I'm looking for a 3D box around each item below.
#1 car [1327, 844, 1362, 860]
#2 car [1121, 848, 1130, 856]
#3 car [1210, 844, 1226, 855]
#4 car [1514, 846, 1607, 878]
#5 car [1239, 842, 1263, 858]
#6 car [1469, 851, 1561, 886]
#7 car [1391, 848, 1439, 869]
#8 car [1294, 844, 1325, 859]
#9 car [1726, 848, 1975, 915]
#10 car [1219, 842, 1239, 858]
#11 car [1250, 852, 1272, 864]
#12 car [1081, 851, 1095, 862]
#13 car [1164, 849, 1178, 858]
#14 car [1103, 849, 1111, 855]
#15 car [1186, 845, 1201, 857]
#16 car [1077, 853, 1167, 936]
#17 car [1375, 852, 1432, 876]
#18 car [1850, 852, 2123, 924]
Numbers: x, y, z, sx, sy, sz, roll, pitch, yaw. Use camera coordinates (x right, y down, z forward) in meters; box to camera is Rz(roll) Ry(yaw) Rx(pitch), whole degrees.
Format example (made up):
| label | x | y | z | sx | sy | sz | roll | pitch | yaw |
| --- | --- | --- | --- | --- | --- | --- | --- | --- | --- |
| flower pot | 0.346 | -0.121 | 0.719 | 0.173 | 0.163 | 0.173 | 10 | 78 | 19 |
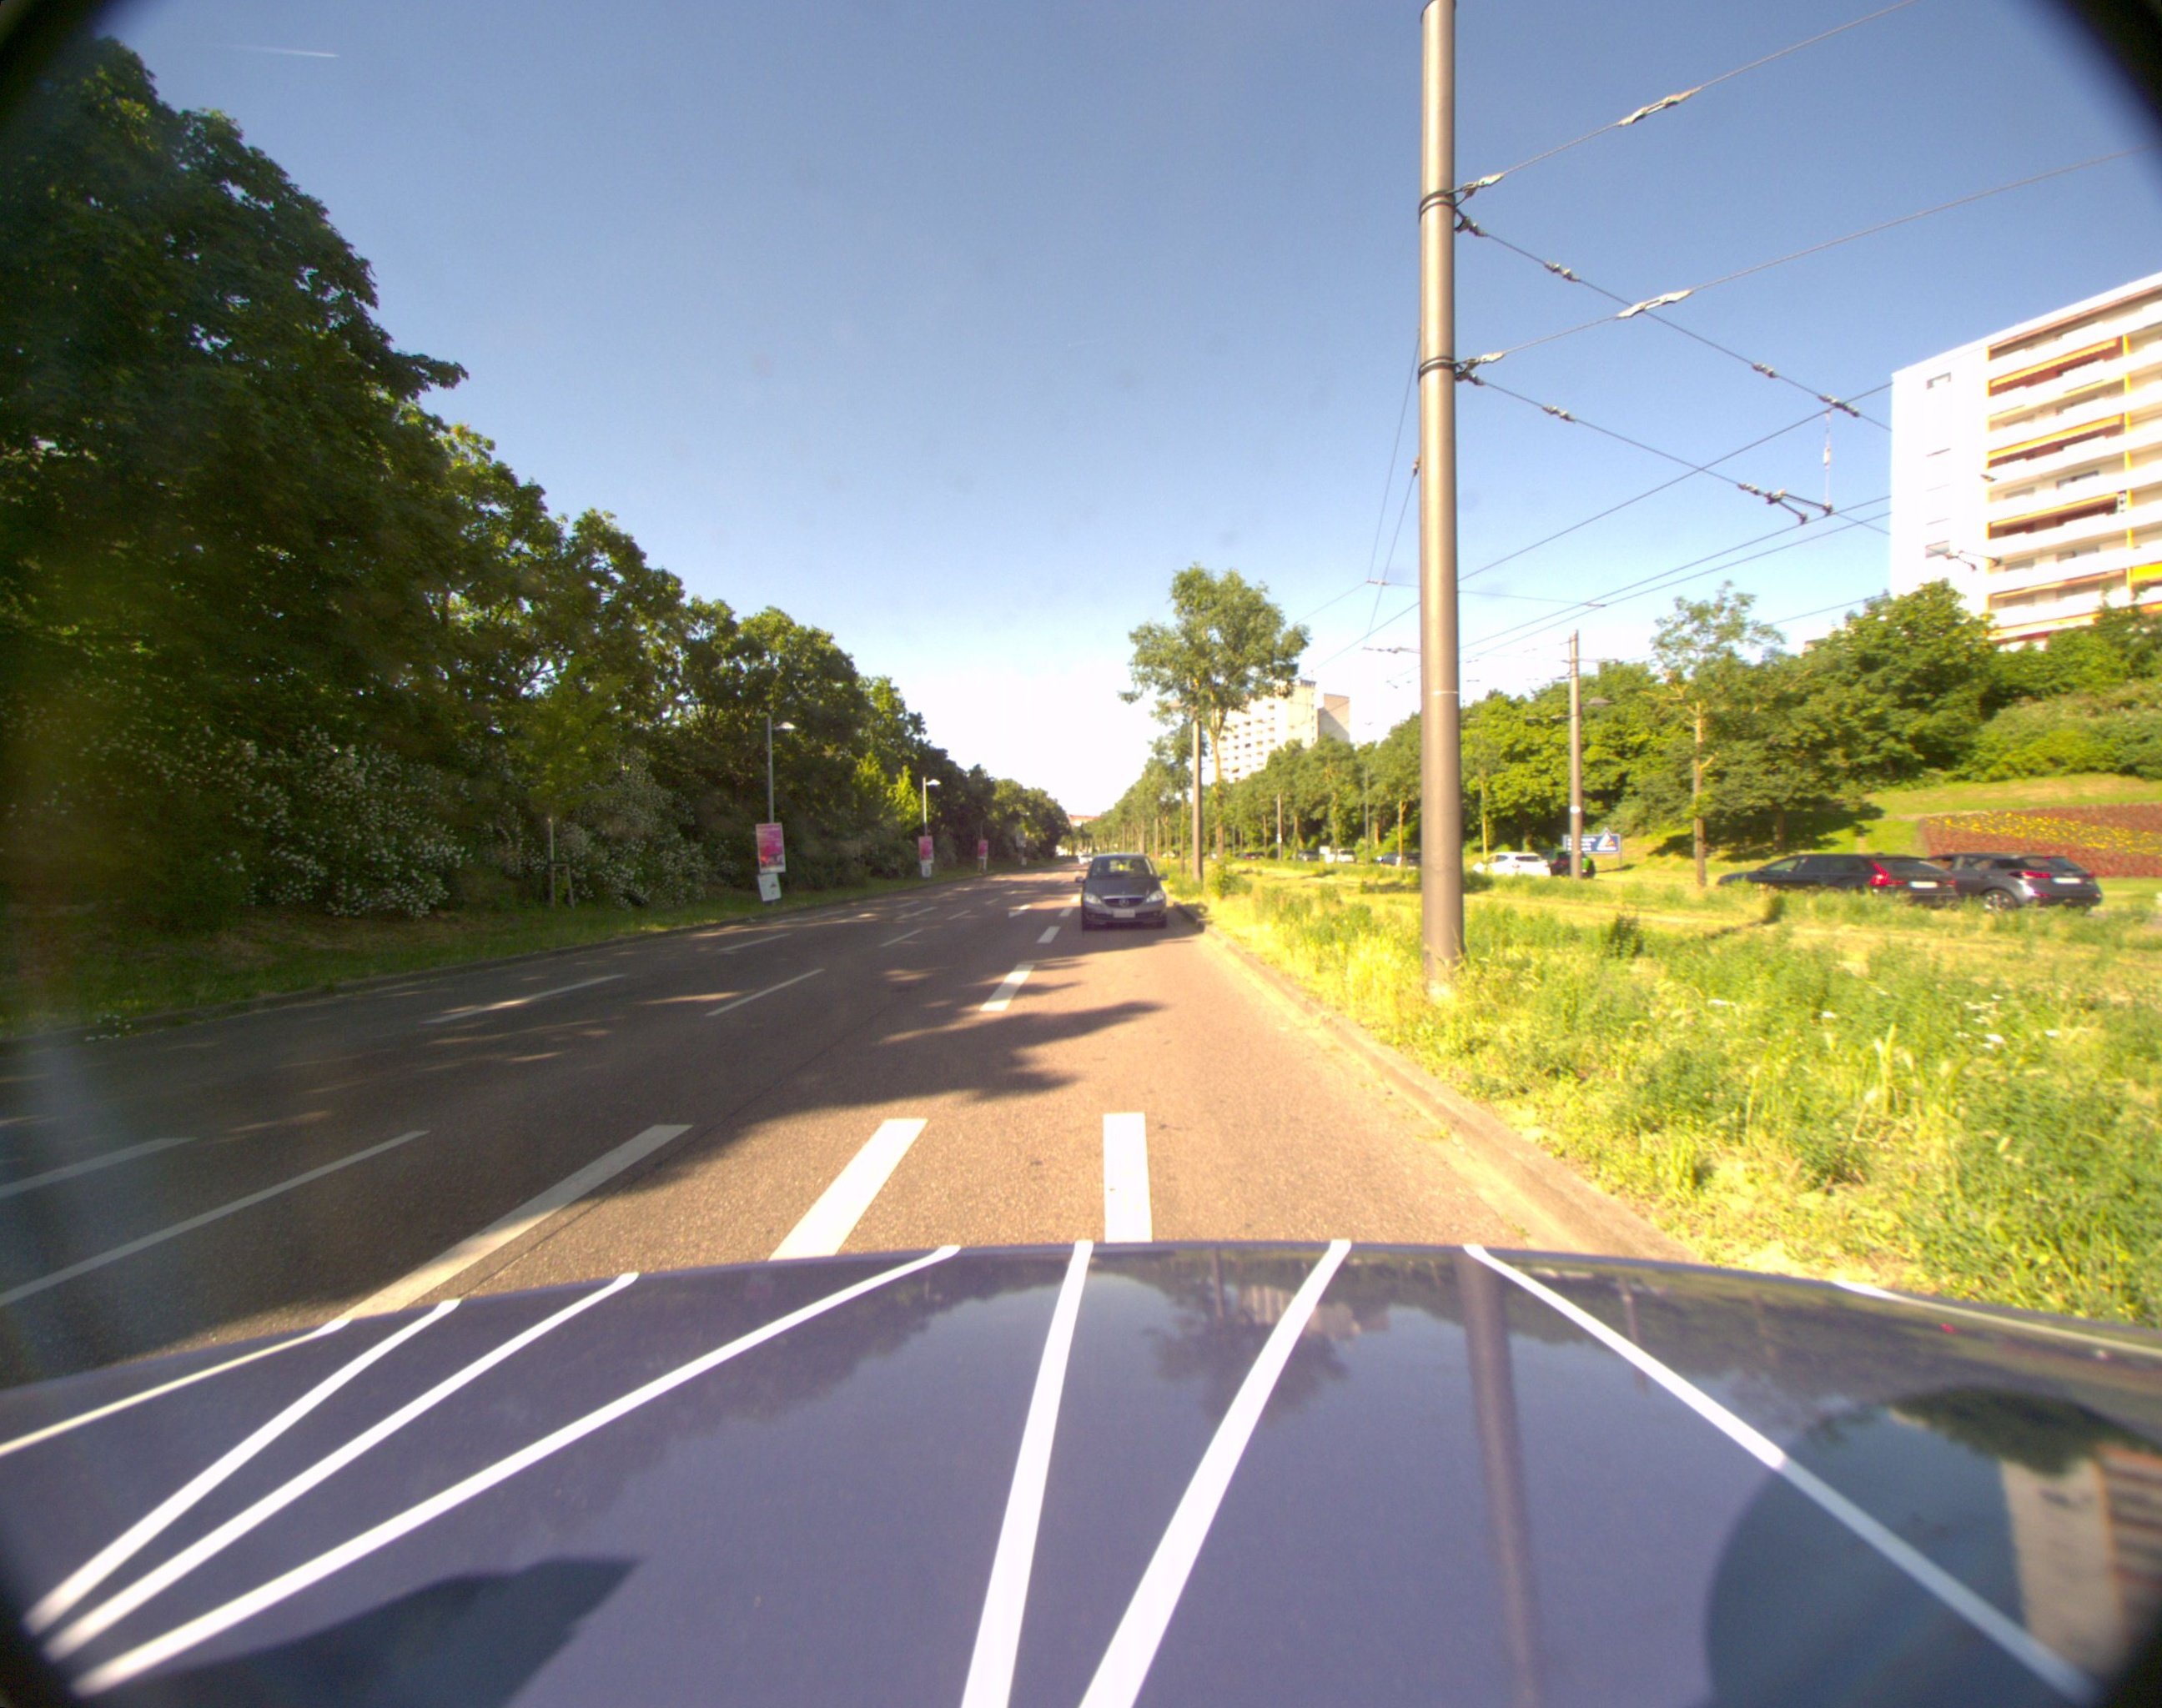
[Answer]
| label | x | y | z | sx | sy | sz | roll | pitch | yaw |
| --- | --- | --- | --- | --- | --- | --- | --- | --- | --- |
| car | 23.221 | -0.179 | 67.215 | 1.847 | 1.390 | 4.000 | -1 | 0 | 2 |
| car | 11.924 | -0.617 | 202.448 | 1.942 | 2.002 | 3.999 | -1 | 0 | -2 |
| car | 22.089 | -0.674 | 122.685 | 1.882 | 1.755 | 4.000 | -1 | 0 | 1 |
| car | 22.331 | 0.348 | 35.601 | 1.867 | 1.410 | 4.000 | -1 | 0 | 1 |
| car | 19.592 | -0.440 | 87.854 | 1.882 | 1.755 | 4.000 | -1 | 0 | 1 |
| car | 18.724 | 0.585 | 32.993 | 1.867 | 1.410 | 4.000 | -1 | 0 | 3 |
| car | 22.844 | 0.307 | 52.094 | 1.740 | 1.368 | 4.001 | -1 | 0 | 4 |
| car | 23.415 | -0.263 | 77.859 | 1.998 | 1.477 | 4.000 | -1 | 0 | 1 |
| car | 18.195 | 0.578 | 18.318 | 1.799 | 1.408 | 4.311 | -1 | 0 | 3 |
| car | 19.936 | -0.523 | 102.597 | 1.998 | 2.002 | 4.000 | -1 | 0 | 1 |
| car | 22.693 | 0.507 | 96.037 | 1.802 | 1.455 | 4.000 | -1 | 0 | 1 |
| car | 0.966 | 0.279 | 102.576 | 1.875 | 1.428 | 4.594 | -1 | 0 | 2 |
| car | 17.481 | -0.037 | 148.163 | 1.910 | 1.652 | 3.997 | -1 | 0 | -6 |
| car | 7.948 | -0.633 | 232.945 | 1.999 | 2.002 | 3.998 | -1 | 0 | -3 |
| car | 18.055 | -0.489 | 121.660 | 1.882 | 1.755 | 4.000 | -1 | 0 | 1 |
| car | 0.834 | 0.802 | 17.009 | 1.759 | 1.612 | 3.880 | -1 | 0 | 1 |
| car | 19.751 | 0.579 | 46.716 | 1.825 | 1.353 | 4.230 | -1 | 0 | 3 |
| car | 21.584 | 0.727 | 18.445 | 1.792 | 1.499 | 4.242 | -1 | 0 | 5 |
